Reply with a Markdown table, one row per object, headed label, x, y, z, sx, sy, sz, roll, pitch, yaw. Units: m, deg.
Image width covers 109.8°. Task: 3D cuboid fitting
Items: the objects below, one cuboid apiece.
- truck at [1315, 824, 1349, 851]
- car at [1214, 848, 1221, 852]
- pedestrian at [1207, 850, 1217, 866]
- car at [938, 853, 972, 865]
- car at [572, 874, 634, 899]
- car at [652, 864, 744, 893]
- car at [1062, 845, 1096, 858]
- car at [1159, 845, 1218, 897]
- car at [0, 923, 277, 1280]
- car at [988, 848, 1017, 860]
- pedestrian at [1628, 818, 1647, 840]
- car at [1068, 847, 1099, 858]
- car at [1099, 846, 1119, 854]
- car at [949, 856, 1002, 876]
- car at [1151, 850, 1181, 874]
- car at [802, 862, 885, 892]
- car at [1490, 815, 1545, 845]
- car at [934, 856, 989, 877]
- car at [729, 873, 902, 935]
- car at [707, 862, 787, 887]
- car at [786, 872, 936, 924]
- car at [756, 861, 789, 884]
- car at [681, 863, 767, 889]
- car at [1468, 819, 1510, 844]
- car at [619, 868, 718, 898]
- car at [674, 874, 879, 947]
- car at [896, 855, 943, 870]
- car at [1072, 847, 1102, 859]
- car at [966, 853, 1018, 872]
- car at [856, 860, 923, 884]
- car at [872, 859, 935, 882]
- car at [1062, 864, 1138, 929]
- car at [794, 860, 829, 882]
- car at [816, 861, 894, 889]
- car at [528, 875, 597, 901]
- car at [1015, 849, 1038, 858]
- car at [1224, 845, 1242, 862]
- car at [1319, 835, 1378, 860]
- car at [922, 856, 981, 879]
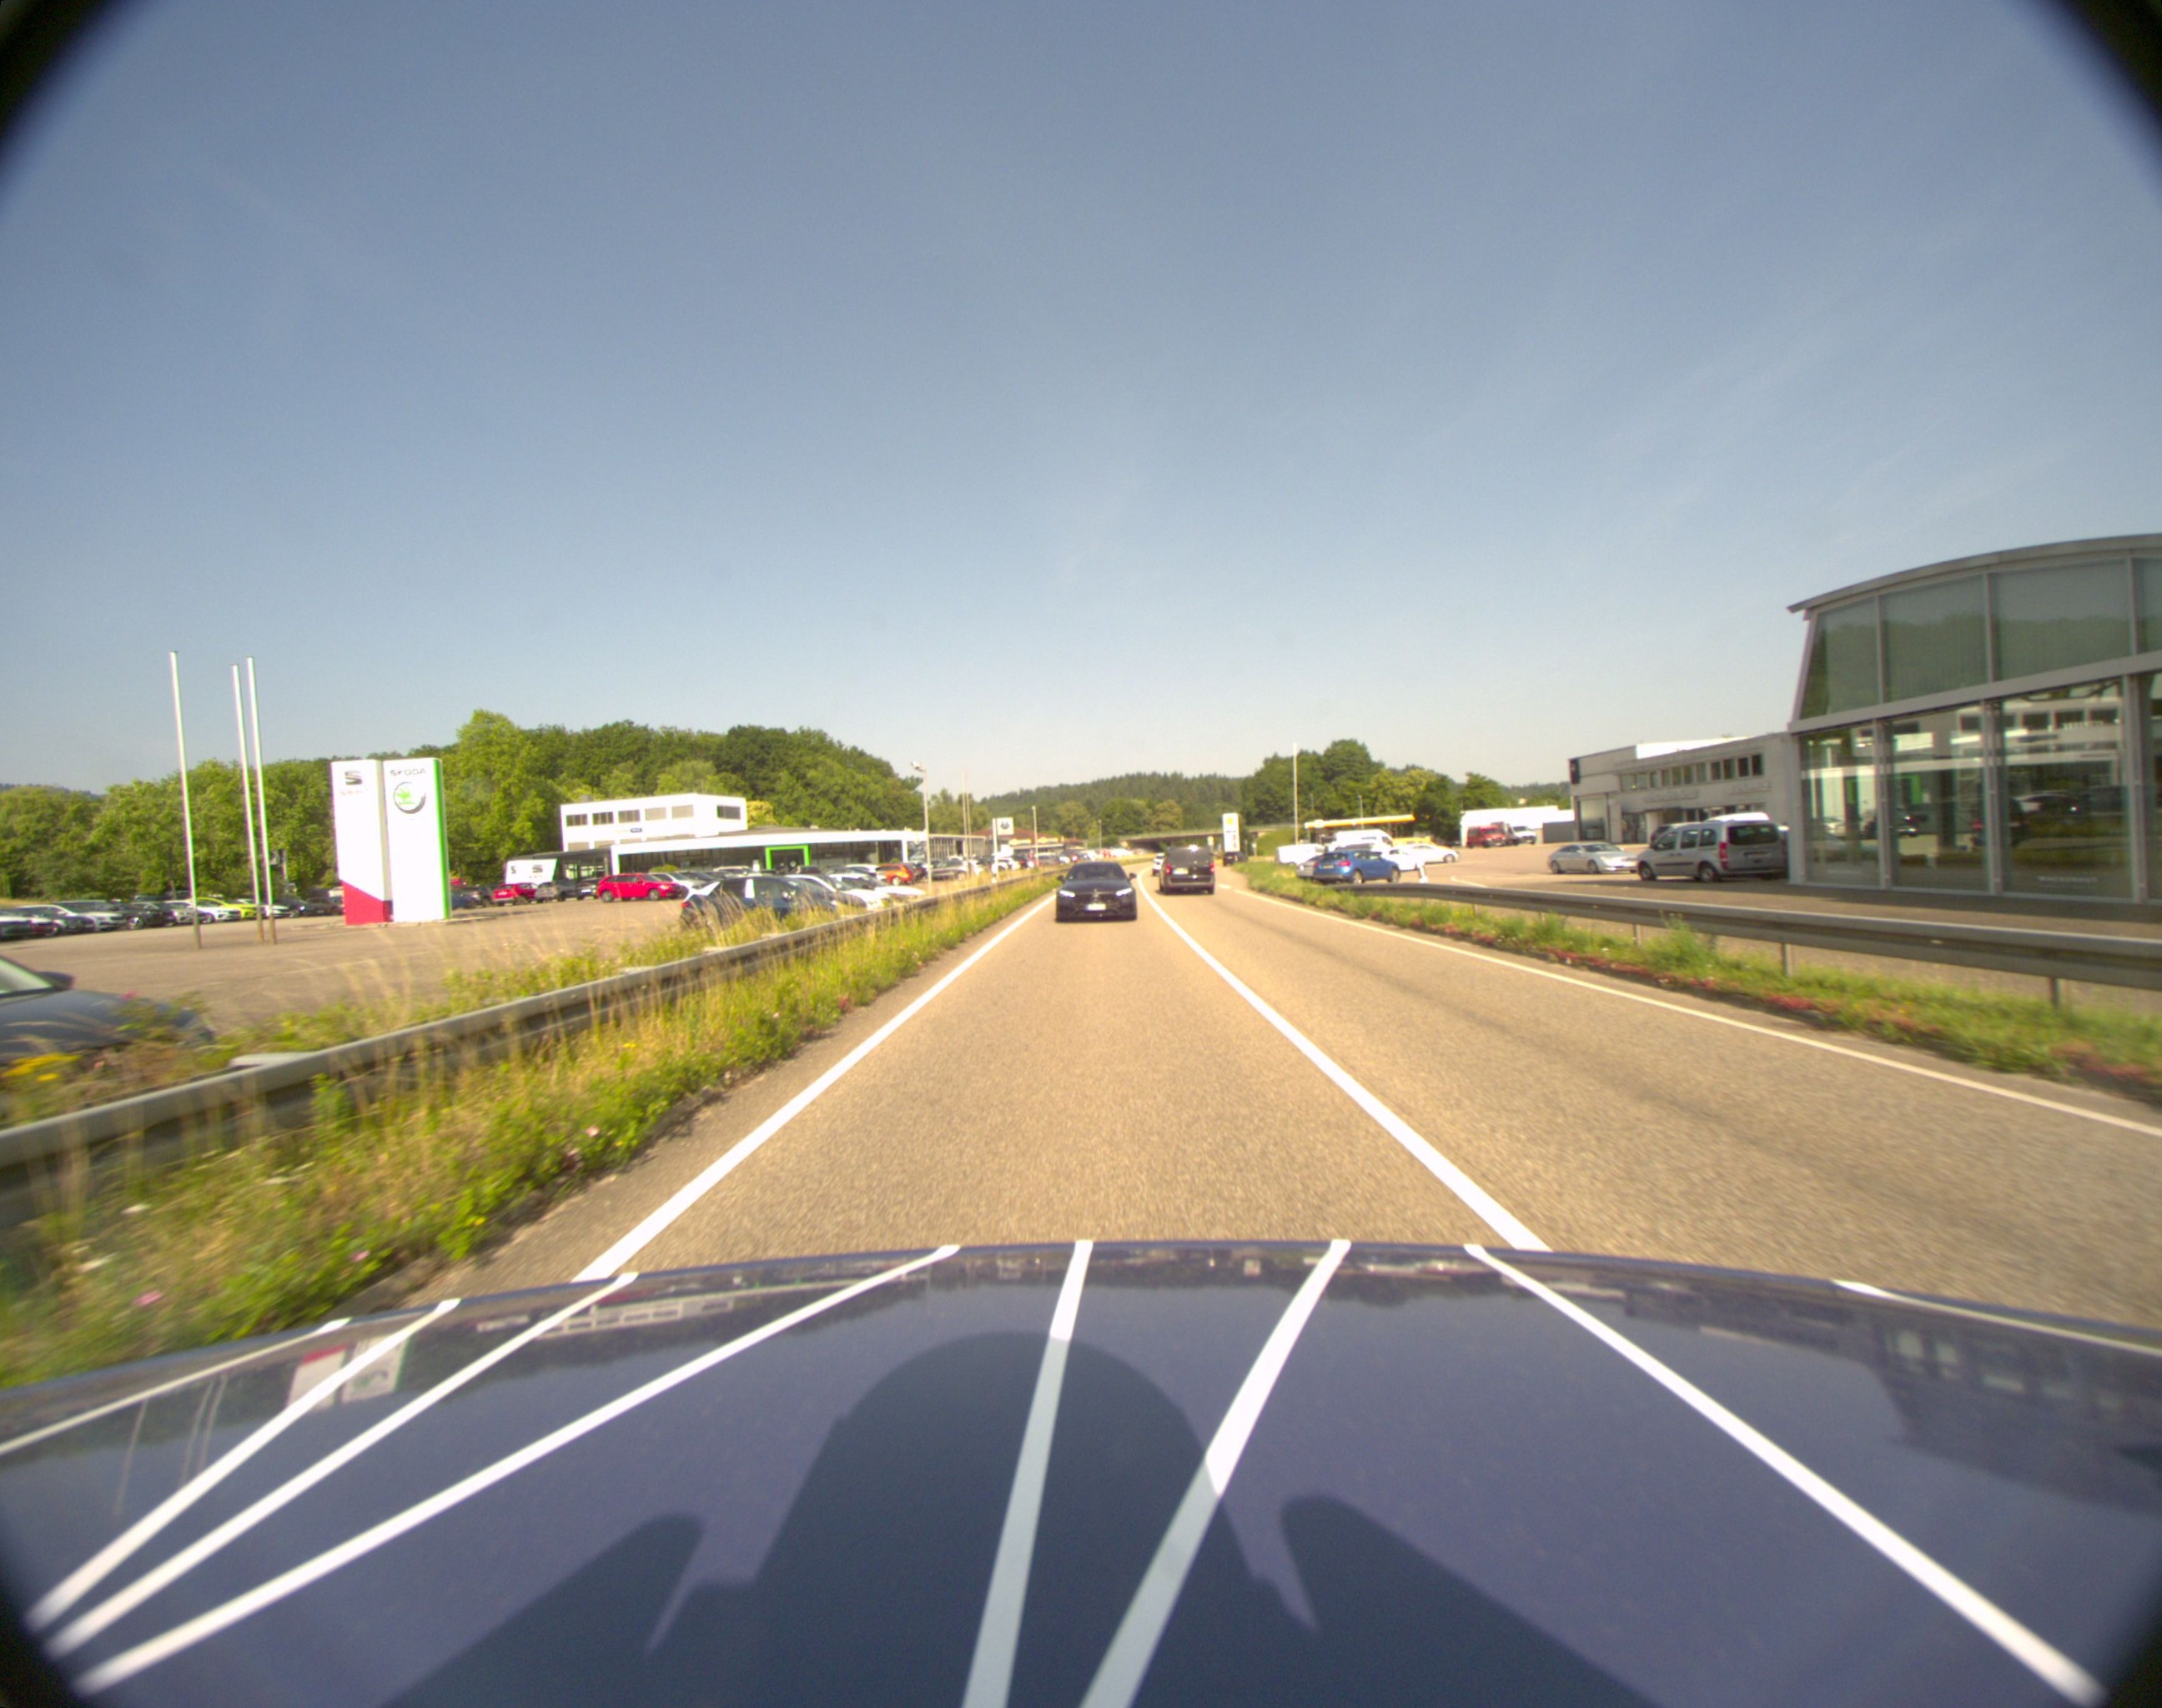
| label | x | y | z | sx | sy | sz | roll | pitch | yaw |
| --- | --- | --- | --- | --- | --- | --- | --- | --- | --- |
| truck | 42.602 | -2.873 | 128.496 | 3.055 | 4.110 | 16.799 | -2 | 1 | 27 |
| car | 37.231 | -1.125 | 207.246 | 1.806 | 1.166 | 4.104 | -1 | 0 | 13 |
| pedestrian | 14.663 | 0.421 | 84.919 | 0.848 | 1.680 | 1.145 | -2 | 1 | 24 |
| car | -17.468 | 0.663 | 105.380 | 4.318 | 1.456 | 1.791 | -1 | 1 | 8 |
| car | -34.709 | 2.315 | 55.321 | 2.003 | 1.537 | 4.606 | -2 | 1 | -8 |
| car | -23.700 | 1.504 | 47.110 | 4.745 | 1.556 | 1.932 | -1 | 1 | 7 |
| car | -0.291 | -0.359 | 106.877 | 4.363 | 1.630 | 1.952 | -2 | 1 | 11 |
| car | 4.213 | 0.603 | 30.387 | 1.918 | 1.874 | 4.911 | -1 | 0 | 4 |
| car | -7.318 | 1.349 | 4.055 | 3.997 | 1.630 | 1.887 | -2 | 1 | 1 |
| car | -12.997 | -0.024 | 125.671 | 4.317 | 1.914 | 1.792 | -1 | 1 | 10 |
| pedestrian | 43.109 | -1.938 | 58.907 | 0.822 | 1.680 | 0.850 | -2 | 1 | 2 |
| car | 0.397 | -0.180 | 109.233 | 4.045 | 1.498 | 1.807 | -1 | 1 | 13 |
| car | 5.400 | -0.750 | 145.559 | 3.543 | 1.456 | 1.806 | -1 | 1 | 11 |
| car | -8.772 | 0.957 | 63.300 | 3.994 | 1.485 | 1.731 | -2 | 1 | 9 |
| car | 6.120 | 0.539 | 55.257 | 1.796 | 1.620 | 4.227 | -1 | 0 | 1 |
| car | -13.568 | 1.309 | 43.553 | 4.166 | 1.507 | 1.824 | -1 | 1 | 1 |
| car | 45.866 | -2.499 | 80.026 | 2.400 | 2.839 | 6.530 | -3 | 0 | 5 |
| car | -9.531 | 1.014 | 60.865 | 3.995 | 1.485 | 1.791 | -2 | 1 | 6 |
| car | -7.340 | 1.358 | 21.256 | 4.169 | 1.547 | 1.771 | -1 | 1 | 3 |
| car | -23.387 | 1.436 | 53.240 | 4.745 | 1.556 | 1.932 | -1 | 1 | 7 |
| car | -6.894 | 1.360 | 24.060 | 4.169 | 1.482 | 1.732 | -1 | 1 | 3 |
| car | -23.778 | 1.390 | 58.441 | 1.934 | 1.556 | 4.741 | -2 | 1 | -27 |
| car | -23.580 | 1.467 | 50.257 | 4.745 | 1.556 | 1.932 | -1 | 1 | 7 |
| car | 42.738 | -2.302 | 79.700 | 1.884 | 2.372 | 5.225 | -3 | 0 | 5 |
| car | -23.972 | 1.678 | 44.253 | 4.745 | 1.556 | 1.932 | -1 | 1 | 7 |
| car | -7.186 | 1.323 | 18.185 | 4.169 | 1.536 | 1.741 | -1 | 1 | 3 |
| car | -17.120 | 0.903 | 80.558 | 4.709 | 1.480 | 1.793 | -1 | 1 | 27 |
| car | 0.889 | -0.161 | 112.120 | 4.052 | 1.608 | 1.881 | -1 | 1 | 13 |
| car | -8.225 | 0.741 | 70.537 | 4.456 | 1.591 | 1.855 | -2 | 1 | 6 |
| car | -13.006 | 1.231 | 51.724 | 3.995 | 1.437 | 1.825 | -2 | 1 | 5 |
| car | -12.712 | 1.167 | 54.568 | 3.995 | 1.477 | 1.842 | -2 | 1 | 5 |
| car | 0.481 | 0.998 | 19.529 | 1.716 | 1.382 | 4.147 | -1 | 0 | 1 |
| car | -21.252 | 1.282 | 59.768 | 1.934 | 1.556 | 4.741 | -2 | 1 | -27 |
| car | -13.744 | 1.287 | 46.336 | 4.101 | 1.507 | 1.825 | -2 | 1 | 5 |
| car | -37.526 | 2.427 | 55.130 | 2.003 | 1.537 | 4.608 | -2 | 1 | -4 |
| car | -10.239 | -0.130 | 142.435 | 3.993 | 1.456 | 1.792 | -1 | 1 | 11 |
| car | 16.385 | -0.043 | 82.131 | 1.814 | 1.620 | 4.546 | -1 | -2 | 10 |
| car | 23.663 | -0.533 | 67.241 | 4.454 | 1.829 | 1.987 | -5 | 0 | 4 |
| car | -9.885 | 1.012 | 58.292 | 4.085 | 1.600 | 1.793 | -2 | 1 | 3 |
